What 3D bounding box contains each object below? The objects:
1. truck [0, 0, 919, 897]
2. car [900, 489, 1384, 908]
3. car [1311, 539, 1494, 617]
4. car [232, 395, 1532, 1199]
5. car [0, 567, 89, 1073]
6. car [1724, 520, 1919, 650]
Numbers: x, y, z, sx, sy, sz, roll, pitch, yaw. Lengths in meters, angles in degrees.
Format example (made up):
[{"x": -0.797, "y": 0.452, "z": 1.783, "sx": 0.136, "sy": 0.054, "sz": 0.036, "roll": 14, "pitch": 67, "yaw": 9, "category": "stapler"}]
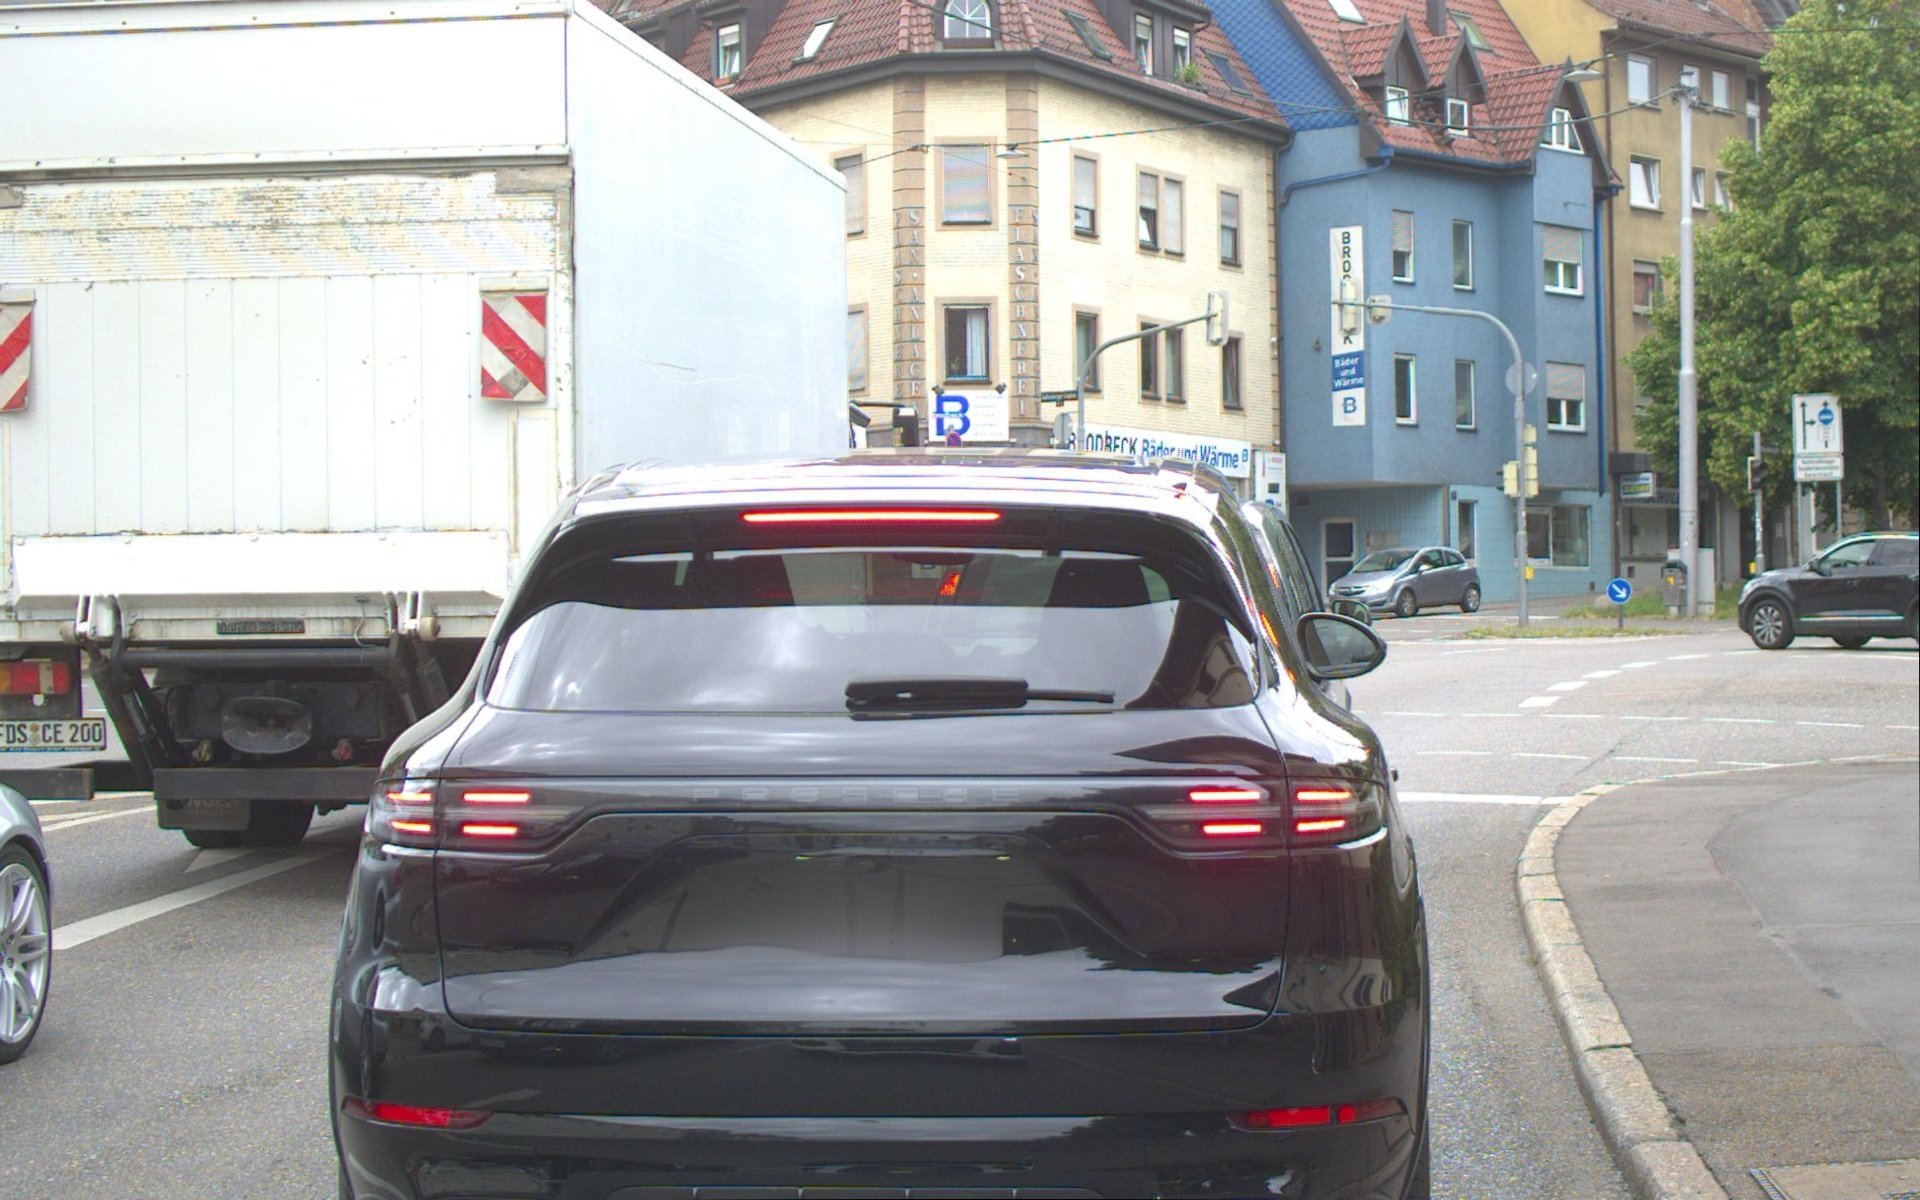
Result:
[{"x": -2.216, "y": -0.712, "z": 17.330, "sx": 2.726, "sy": 3.532, "sz": 8.419, "roll": -1, "pitch": 1, "yaw": 8, "category": "truck"}, {"x": 0.895, "y": 0.351, "z": 14.775, "sx": 1.649, "sy": 1.550, "sz": 3.581, "roll": 1, "pitch": 1, "yaw": 10, "category": "car"}, {"x": 9.184, "y": -0.438, "z": 71.129, "sx": 1.720, "sy": 1.471, "sz": 4.208, "roll": 0, "pitch": -1, "yaw": 40, "category": "car"}, {"x": -0.151, "y": 0.521, "z": 7.667, "sx": 2.031, "sy": 1.717, "sz": 4.500, "roll": 1, "pitch": 1, "yaw": -1, "category": "car"}, {"x": -3.499, "y": 0.638, "z": 8.039, "sx": 1.629, "sy": 1.360, "sz": 4.128, "roll": -1, "pitch": 1, "yaw": 4, "category": "car"}, {"x": 11.800, "y": -0.188, "z": 43.020, "sx": 1.994, "sy": 1.525, "sz": 3.999, "roll": 0, "pitch": 2, "yaw": -38, "category": "car"}]
